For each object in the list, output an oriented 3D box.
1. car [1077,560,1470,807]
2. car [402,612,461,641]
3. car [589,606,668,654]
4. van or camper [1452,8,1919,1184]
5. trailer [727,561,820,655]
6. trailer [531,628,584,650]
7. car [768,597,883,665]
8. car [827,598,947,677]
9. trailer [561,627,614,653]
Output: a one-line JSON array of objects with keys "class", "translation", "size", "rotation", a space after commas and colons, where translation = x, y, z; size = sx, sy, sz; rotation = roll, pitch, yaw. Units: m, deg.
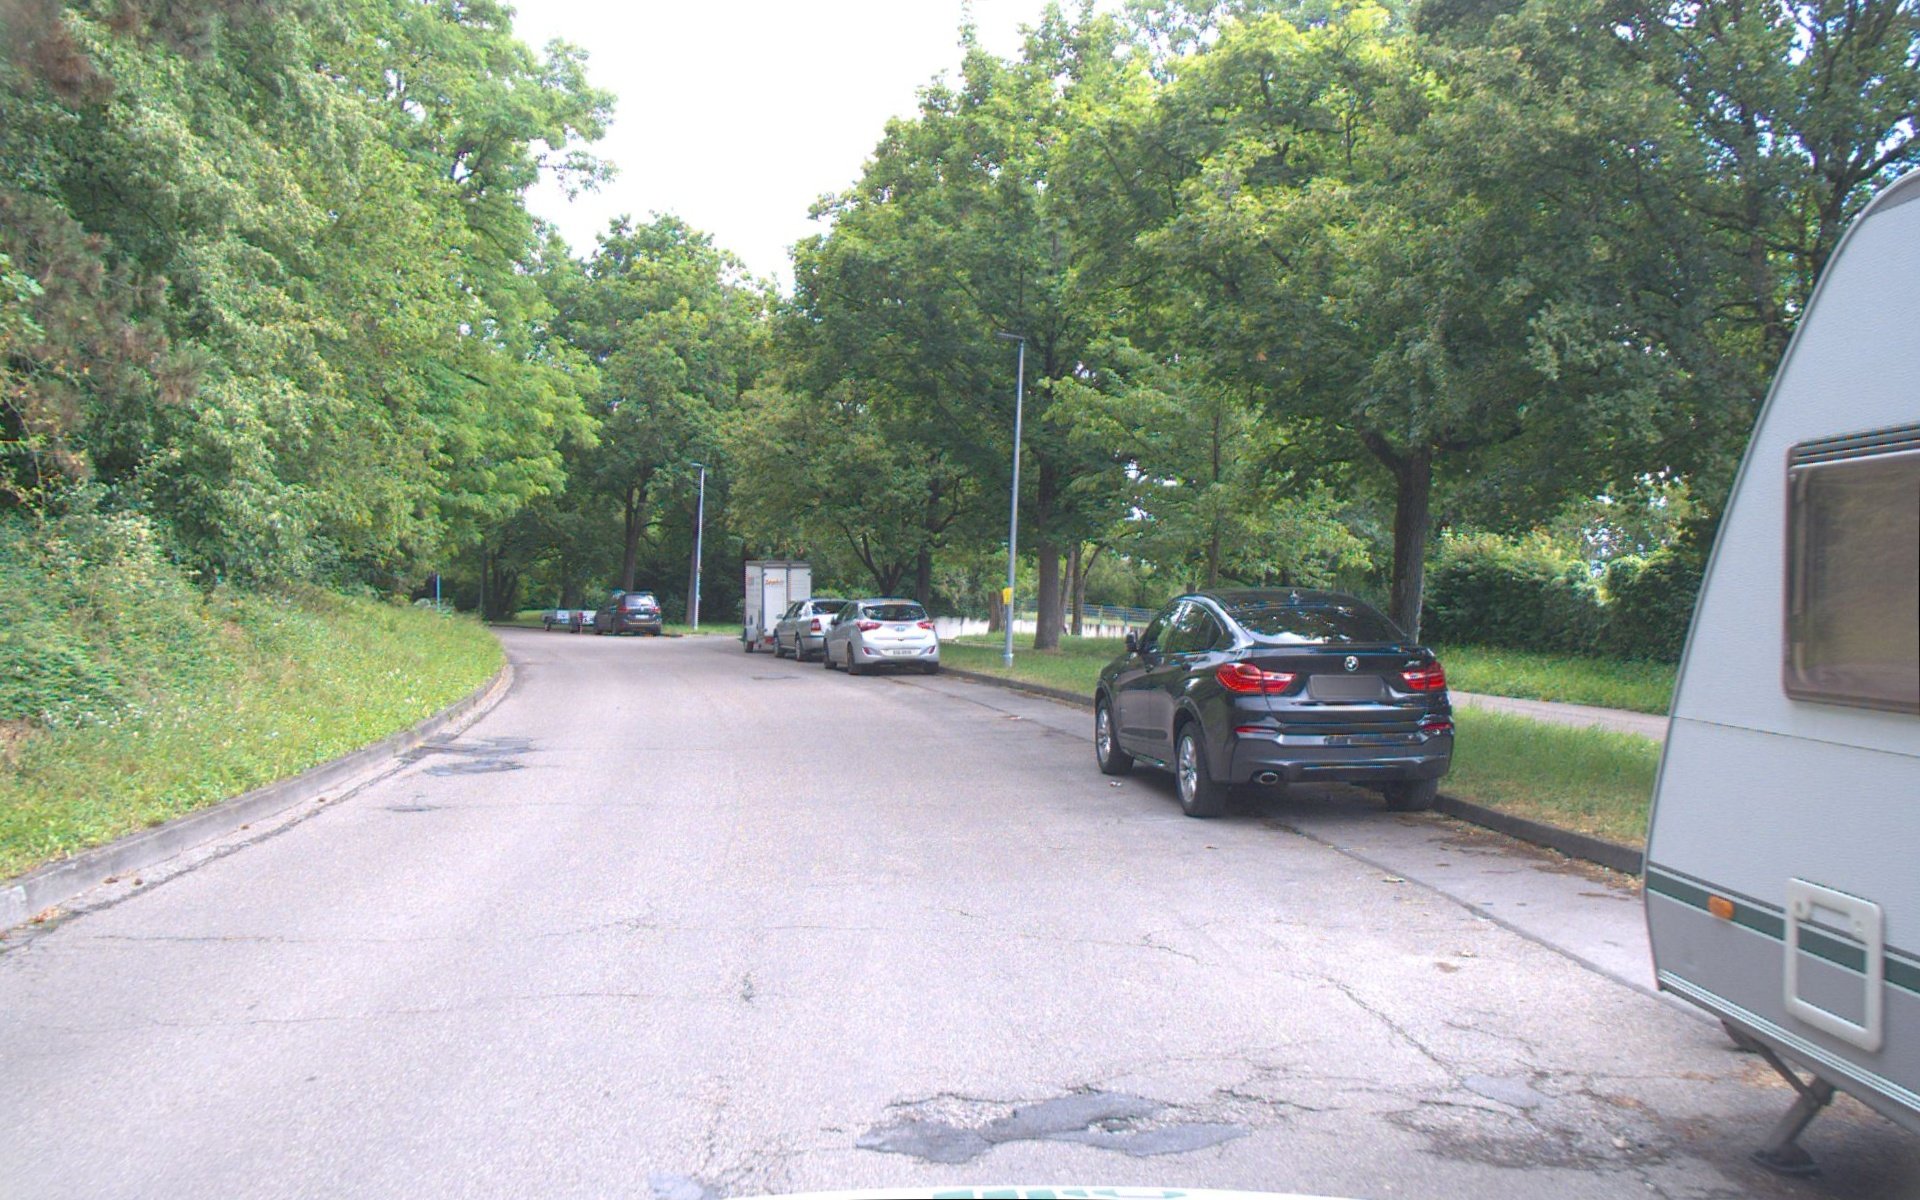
[{"class": "car", "translation": [2.327, 0.601, 13.591], "size": [1.814, 1.672, 4.521], "rotation": [0, -1, -8]}, {"class": "car", "translation": [-27.778, 1.406, 86.843], "size": [1.706, 1.457, 3.893], "rotation": [1, -2, -39]}, {"class": "car", "translation": [-12.632, 1.168, 62.807], "size": [1.754, 1.692, 4.798], "rotation": [3, -2, -26]}, {"class": "van or camper", "translation": [3.172, -0.003, 3.521], "size": [2.118, 2.581, 6.026], "rotation": [1, -1, -3]}, {"class": "trailer", "translation": [-5.143, 0.238, 45.239], "size": [1.734, 2.469, 3.865], "rotation": [0, -1, -19]}, {"class": "trailer", "translation": [-17.630, 1.704, 72.375], "size": [1.349, 0.863, 3.245], "rotation": [3, -4, -30]}, {"class": "car", "translation": [-3.332, 0.716, 40.159], "size": [1.715, 1.552, 4.611], "rotation": [1, -1, -19]}, {"class": "car", "translation": [-1.555, 0.731, 33.801], "size": [1.868, 1.502, 4.047], "rotation": [1, 0, -11]}, {"class": "trailer", "translation": [-15.370, 1.641, 68.193], "size": [1.340, 0.986, 3.862], "rotation": [3, -2, -25]}]
